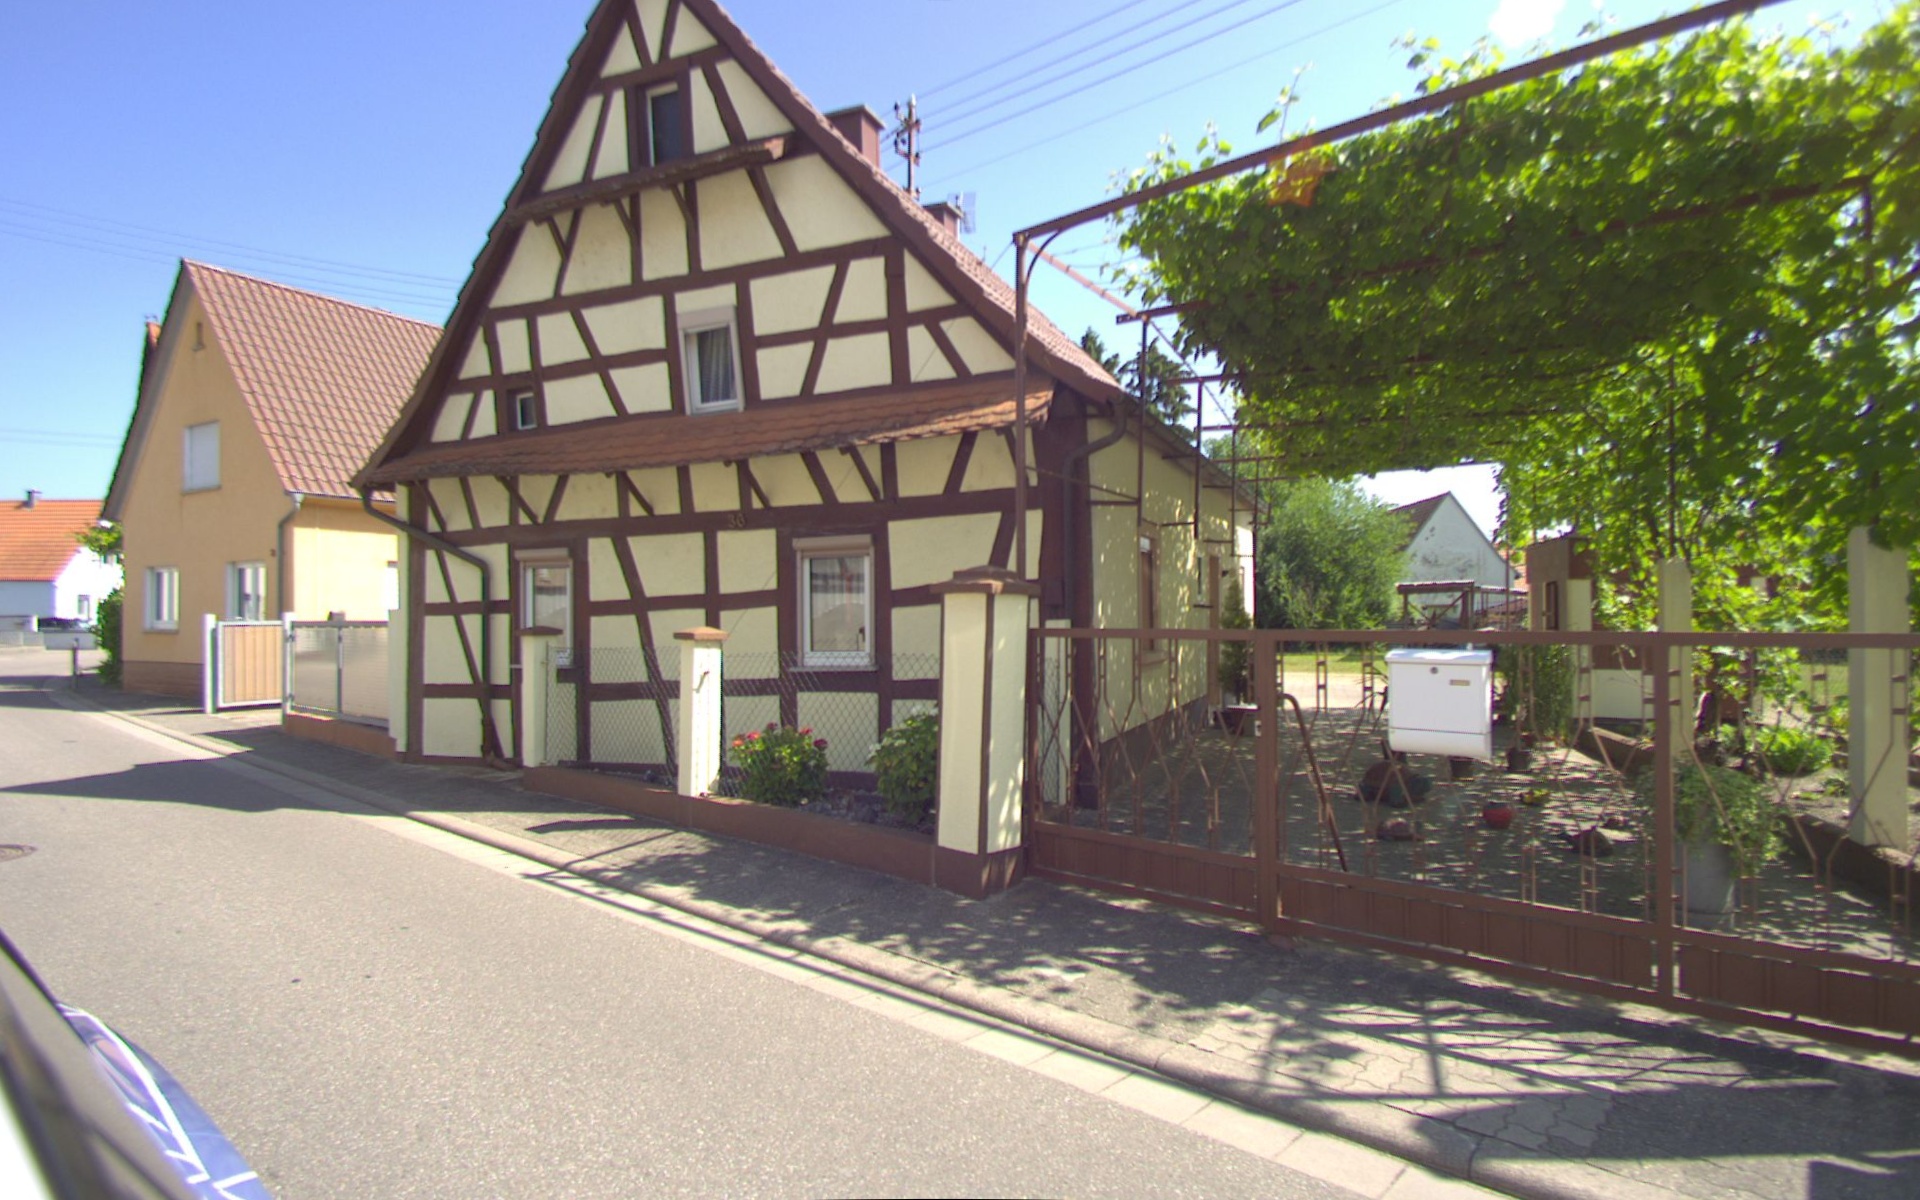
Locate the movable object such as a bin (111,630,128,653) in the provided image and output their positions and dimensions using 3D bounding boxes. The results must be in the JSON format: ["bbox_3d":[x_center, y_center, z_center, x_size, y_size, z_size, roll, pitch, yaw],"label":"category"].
[{"bbox_3d":[-43.089,2.108,51.884,0.432,1.152,0.563,-1,-2,40],"label":"movable object such as a bin"}]

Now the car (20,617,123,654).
[{"bbox_3d":[-46.753,1.849,53.321,3.944,1.859,1.702,0,-1,0],"label":"car"}]
